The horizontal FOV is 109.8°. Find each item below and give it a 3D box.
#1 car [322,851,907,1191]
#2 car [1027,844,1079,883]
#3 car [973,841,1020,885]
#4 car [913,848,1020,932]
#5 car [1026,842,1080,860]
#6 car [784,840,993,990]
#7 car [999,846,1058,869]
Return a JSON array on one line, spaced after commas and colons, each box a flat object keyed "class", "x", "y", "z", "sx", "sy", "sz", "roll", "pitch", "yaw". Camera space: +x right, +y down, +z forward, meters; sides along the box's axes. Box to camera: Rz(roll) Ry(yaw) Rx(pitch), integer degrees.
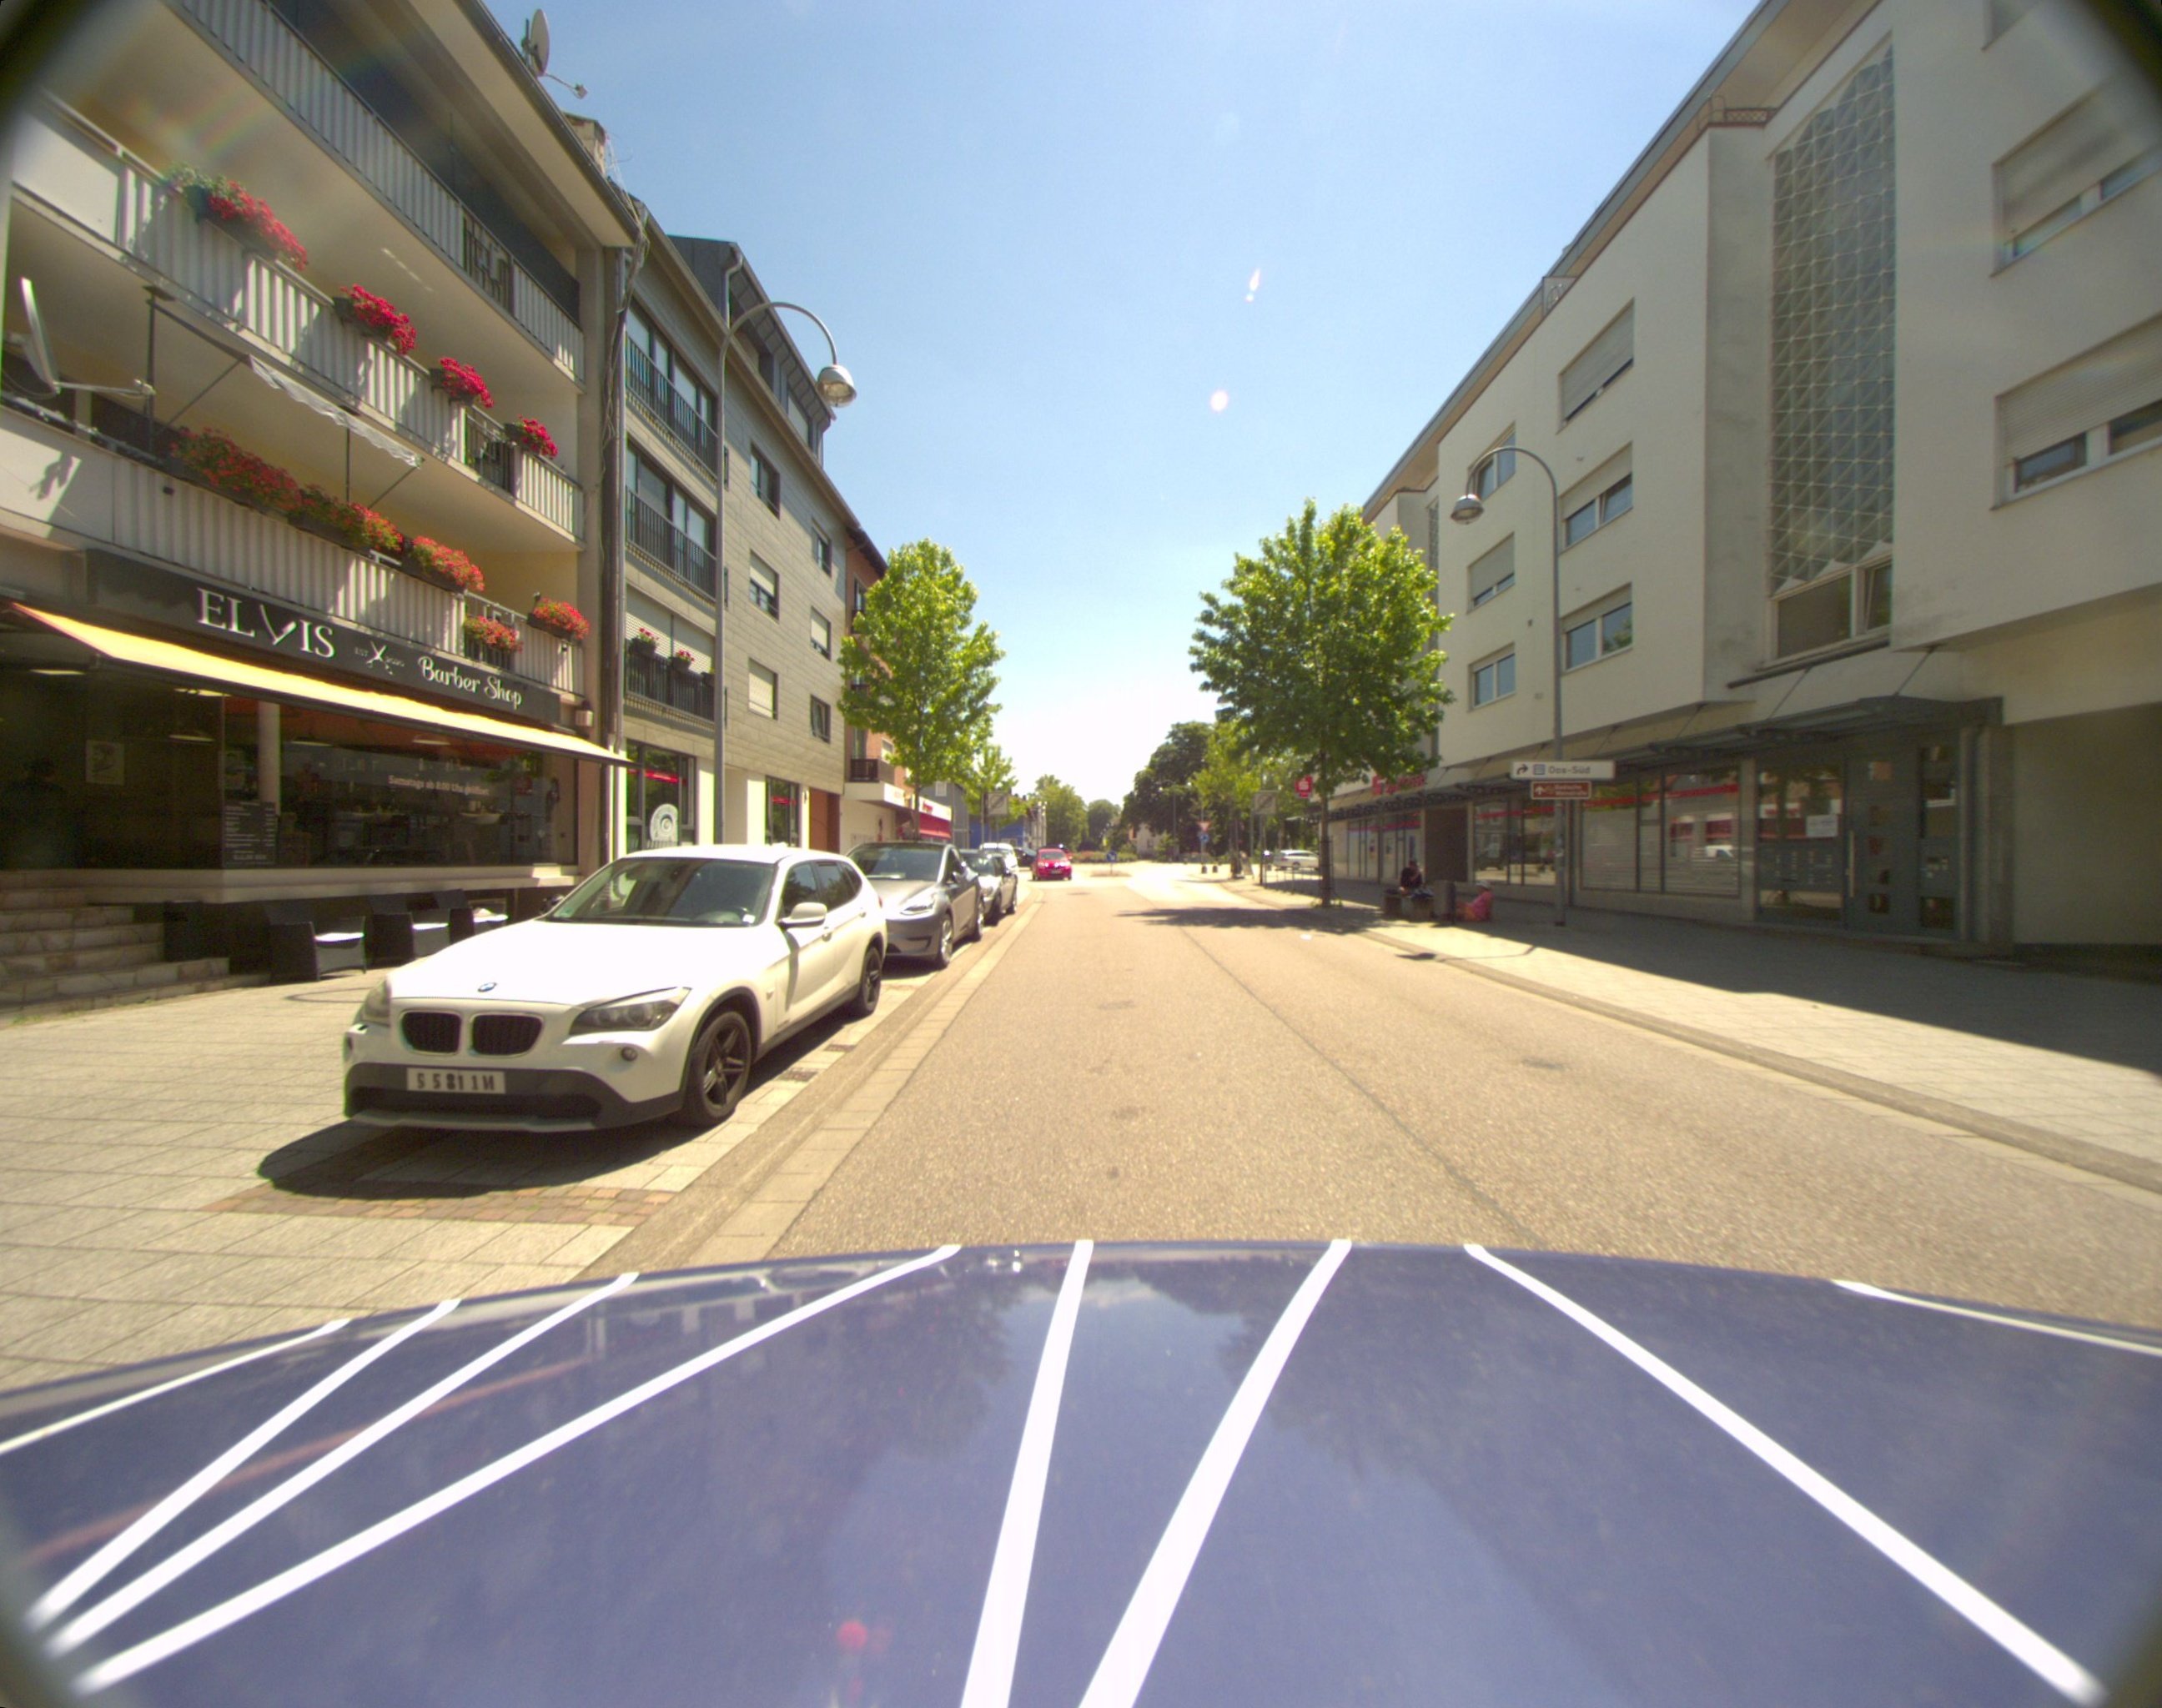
[{"class": "car", "x": -2.758, "y": 0.800, "z": 5.790, "sx": 1.726, "sy": 1.574, "sz": 4.225, "roll": 1, "pitch": 1, "yaw": 2}, {"class": "car", "x": -1.444, "y": 0.417, "z": 37.363, "sx": 1.835, "sy": 1.525, "sz": 3.993, "roll": -3, "pitch": 4, "yaw": -12}, {"class": "car", "x": -3.640, "y": 0.352, "z": 32.243, "sx": 1.753, "sy": 1.714, "sz": 3.906, "roll": 2, "pitch": 0, "yaw": -9}, {"class": "car", "x": -2.280, "y": 0.659, "z": 16.073, "sx": 1.626, "sy": 1.550, "sz": 3.840, "roll": 1, "pitch": 1, "yaw": 1}, {"class": "car", "x": -2.642, "y": -0.256, "z": 71.069, "sx": 4.607, "sy": 1.575, "sz": 1.952, "roll": 1, "pitch": -2, "yaw": 22}, {"class": "car", "x": -2.507, "y": 0.693, "z": 11.170, "sx": 1.768, "sy": 1.696, "sz": 4.705, "roll": 1, "pitch": 0, "yaw": 1}, {"class": "car", "x": -3.813, "y": 0.252, "z": 55.406, "sx": 3.995, "sy": 1.554, "sz": 1.806, "roll": 1, "pitch": -2, "yaw": 6}]
